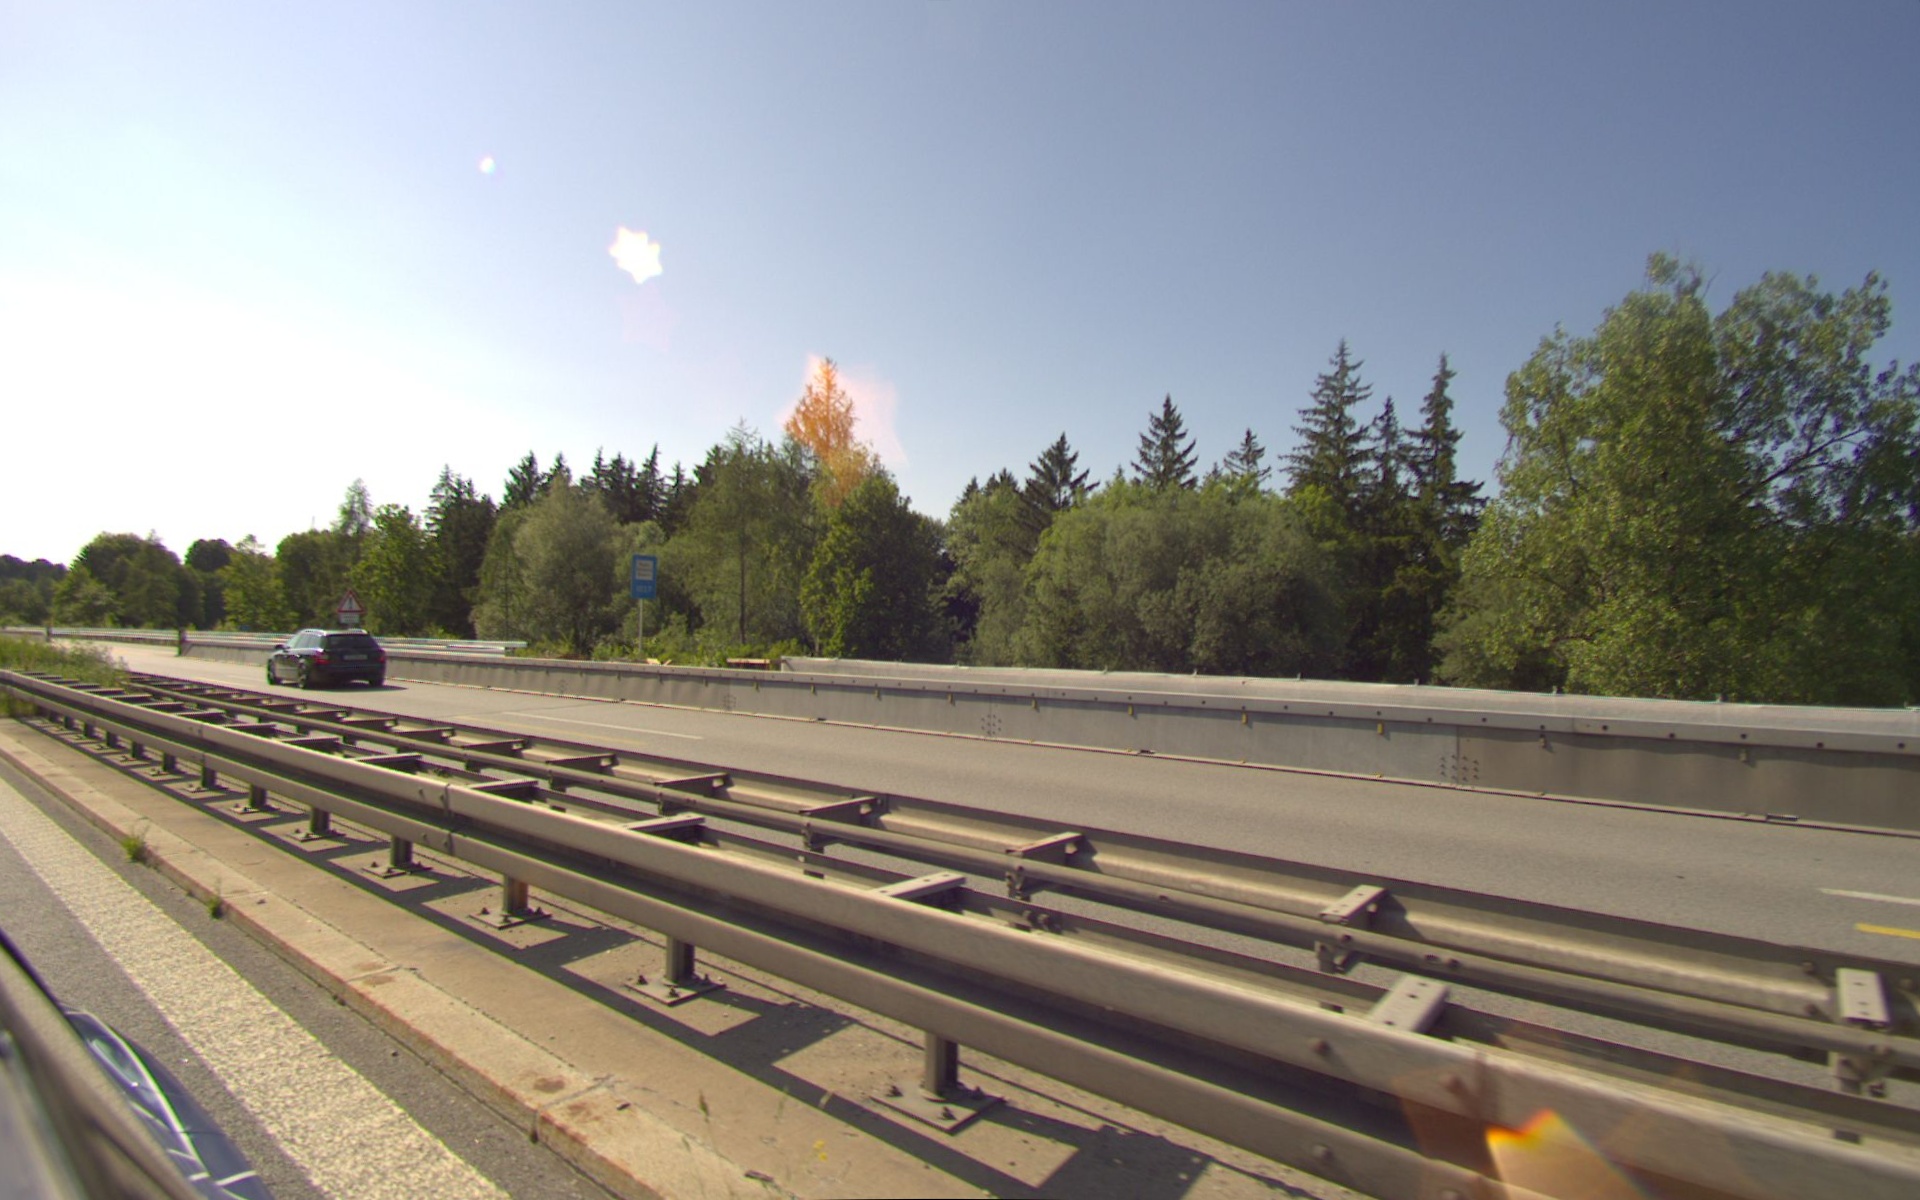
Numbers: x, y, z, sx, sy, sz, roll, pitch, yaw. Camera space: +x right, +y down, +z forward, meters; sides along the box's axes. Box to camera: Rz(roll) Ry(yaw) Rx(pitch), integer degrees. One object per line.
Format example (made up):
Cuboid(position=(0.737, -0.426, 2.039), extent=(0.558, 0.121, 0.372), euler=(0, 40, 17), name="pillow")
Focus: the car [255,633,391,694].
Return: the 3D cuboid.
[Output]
Cuboid(position=(-16.042, 1.527, 25.372), extent=(4.807, 1.387, 1.628), euler=(-1, -2, 42), name="car")
